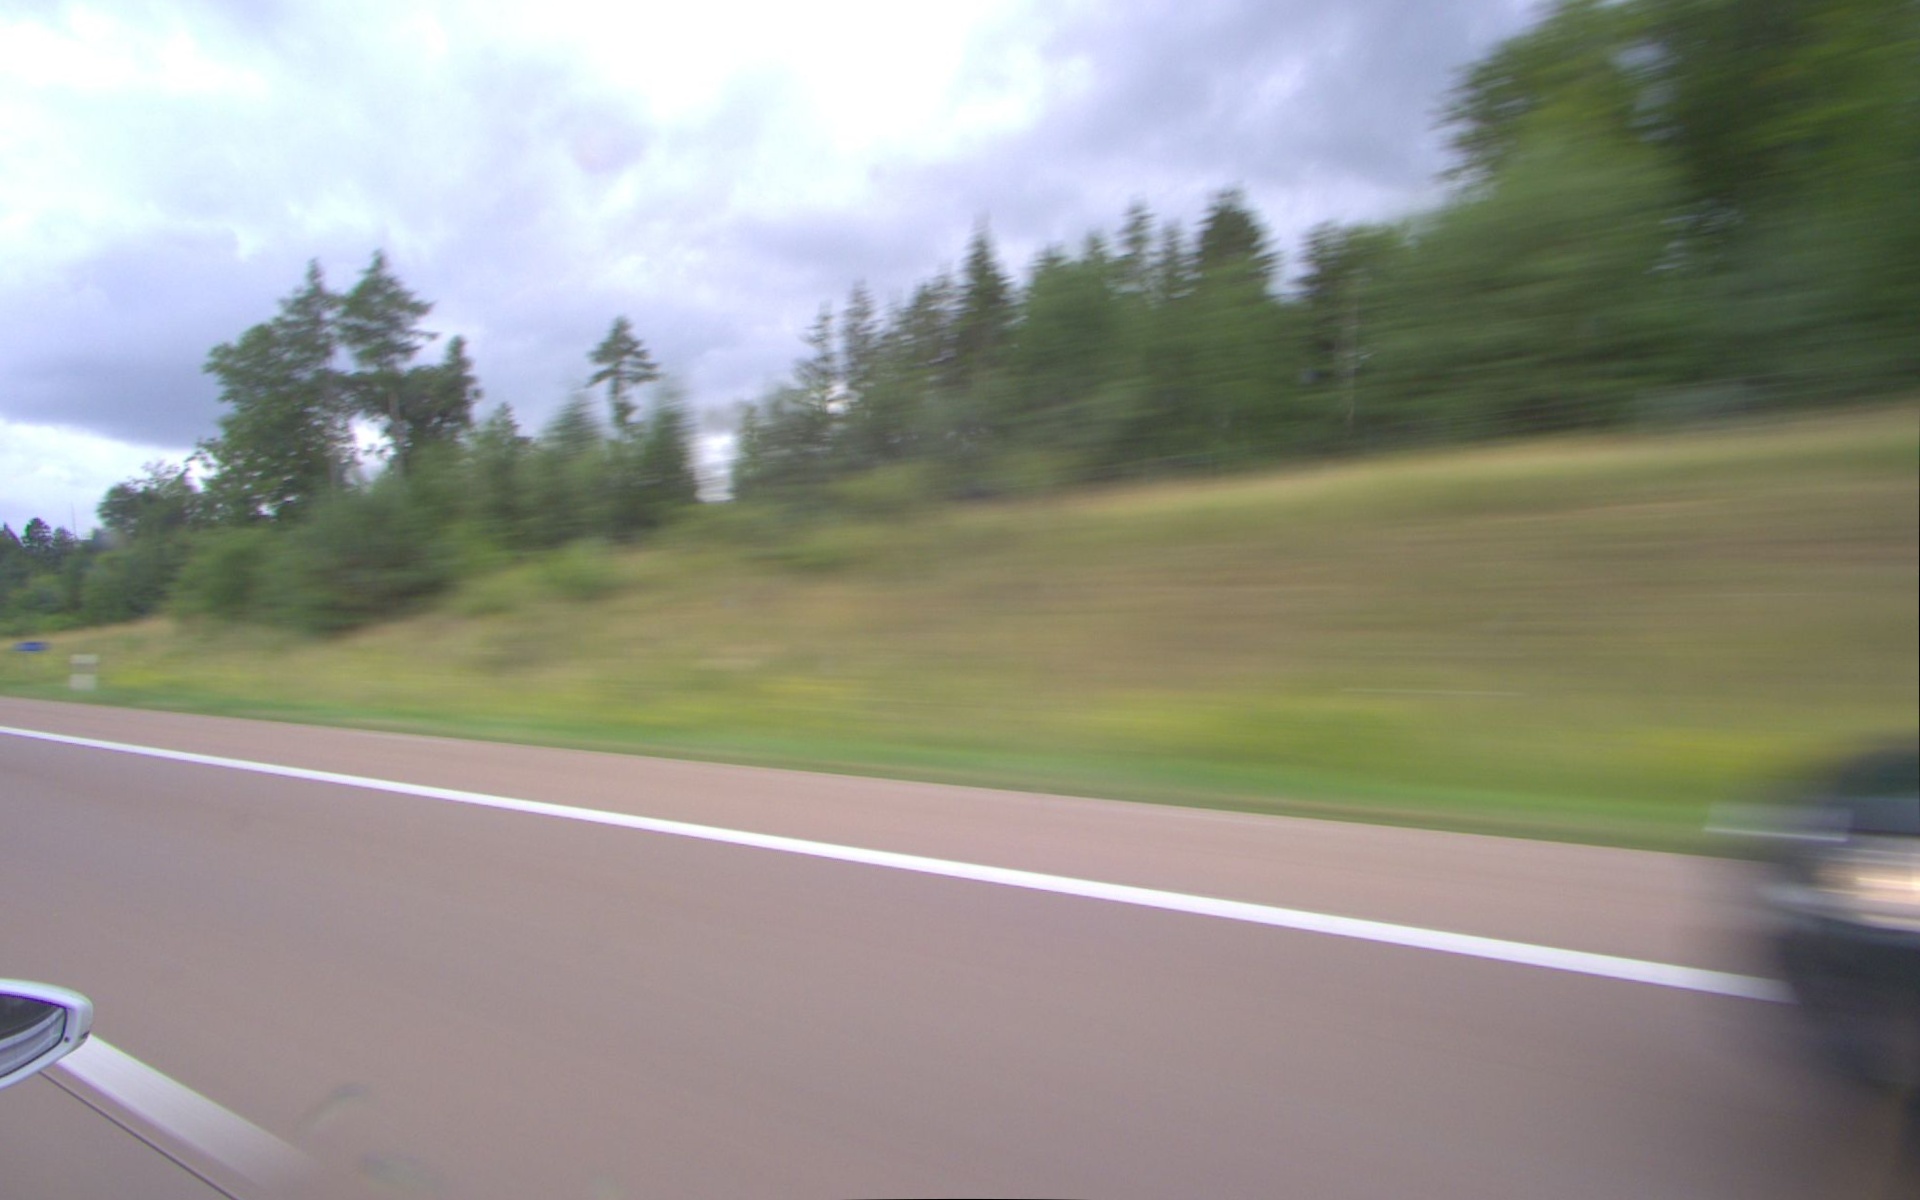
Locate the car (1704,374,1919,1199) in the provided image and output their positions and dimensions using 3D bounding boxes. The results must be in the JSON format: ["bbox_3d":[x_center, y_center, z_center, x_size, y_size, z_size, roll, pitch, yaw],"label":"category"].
[{"bbox_3d":[4.503,0.502,1.278,5.497,1.921,2.040,-2,-1,32],"label":"car"}]
